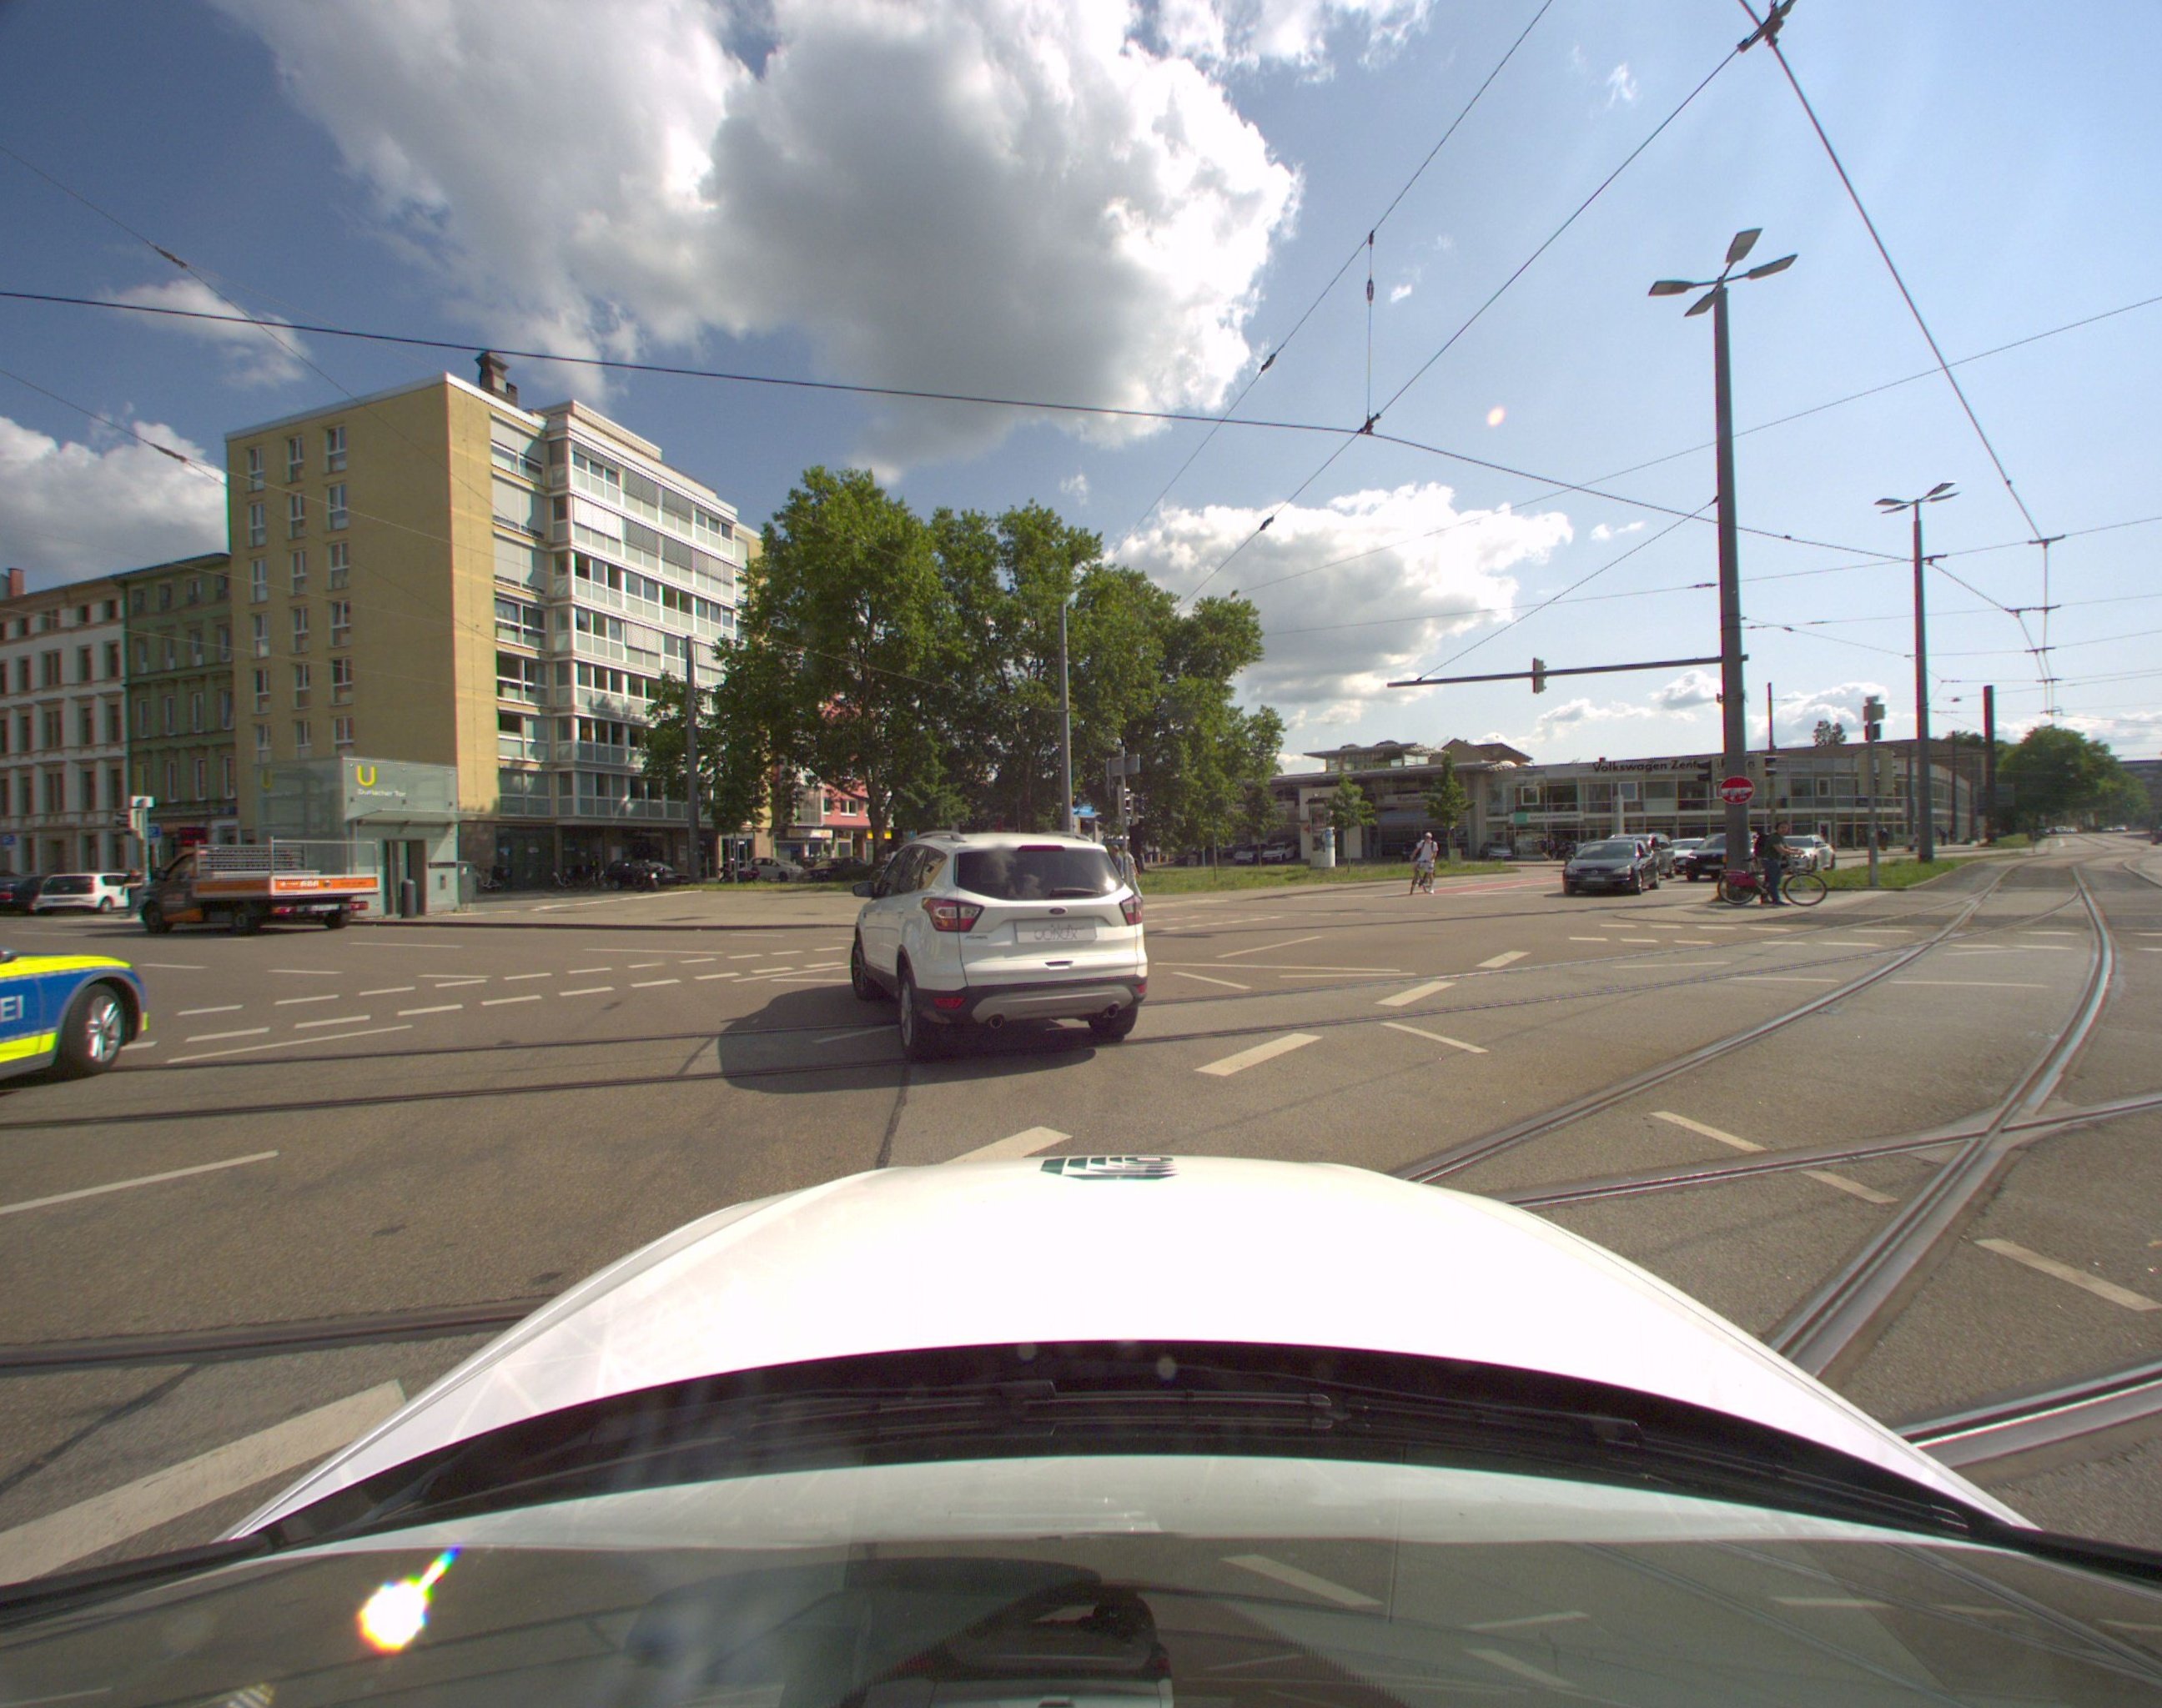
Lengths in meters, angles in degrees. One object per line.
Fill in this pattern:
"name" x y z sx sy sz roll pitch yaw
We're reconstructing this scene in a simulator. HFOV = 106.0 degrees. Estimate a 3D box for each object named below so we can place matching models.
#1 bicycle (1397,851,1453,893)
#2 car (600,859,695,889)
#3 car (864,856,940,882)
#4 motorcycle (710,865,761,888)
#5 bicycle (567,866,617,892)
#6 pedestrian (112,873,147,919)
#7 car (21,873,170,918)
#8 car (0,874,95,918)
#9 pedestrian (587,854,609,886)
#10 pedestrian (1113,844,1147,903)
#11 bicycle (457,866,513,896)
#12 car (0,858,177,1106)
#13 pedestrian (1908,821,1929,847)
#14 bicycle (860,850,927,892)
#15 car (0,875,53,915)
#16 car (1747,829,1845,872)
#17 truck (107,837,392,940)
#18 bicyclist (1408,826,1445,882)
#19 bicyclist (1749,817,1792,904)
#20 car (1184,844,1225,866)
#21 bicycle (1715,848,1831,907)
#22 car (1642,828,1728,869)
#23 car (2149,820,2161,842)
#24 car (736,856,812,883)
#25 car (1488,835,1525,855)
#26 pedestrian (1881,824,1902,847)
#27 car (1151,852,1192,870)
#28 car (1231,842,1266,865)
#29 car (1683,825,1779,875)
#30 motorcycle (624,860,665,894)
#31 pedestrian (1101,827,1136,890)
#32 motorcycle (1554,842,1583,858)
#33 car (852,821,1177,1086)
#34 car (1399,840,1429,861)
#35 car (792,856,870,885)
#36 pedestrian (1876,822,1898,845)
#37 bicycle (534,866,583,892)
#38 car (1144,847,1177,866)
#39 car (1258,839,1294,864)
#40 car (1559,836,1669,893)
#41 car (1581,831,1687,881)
"bicycle" 10.496 0.528 24.804 2.163 1.192 0.752 -2 0 -44
"car" -20.880 0.964 39.238 3.956 1.398 1.680 -1 -1 16
"car" -9.822 0.827 44.633 3.949 1.327 1.643 -2 -1 30
"motorcycle" -15.496 0.995 36.616 2.045 0.917 0.805 -3 1 -22
"bicycle" -22.550 1.132 37.554 1.929 1.147 0.800 -1 0 14
"pedestrian" -32.654 1.425 27.944 0.691 1.534 0.559 -2 -1 23
"car" -35.973 1.452 29.895 1.902 1.496 3.869 -1 -1 -23
"car" -38.539 1.489 29.582 1.902 1.496 3.868 -1 -1 -24
"pedestrian" -25.061 0.822 42.251 0.864 1.608 0.822 0 1 -41
"pedestrian" 1.468 0.565 24.184 0.917 1.743 0.591 1 1 12
"bicycle" -26.805 1.181 36.657 0.786 1.258 1.821 -1 0 28
"car" -7.520 0.838 4.179 1.886 1.568 4.584 -1 0 -20
"pedestrian" 63.840 -1.513 62.070 0.878 1.922 0.871 0 1 -25
"bicycle" -6.637 0.596 28.827 2.151 1.414 0.816 0 1 16
"car" -41.745 1.562 30.825 1.902 1.496 3.868 -1 -1 -24
"car" 26.649 -0.128 30.334 3.986 1.461 1.884 -2 -1 -36
"truck" -19.379 0.774 19.015 5.784 2.155 2.358 -1 0 19
"bicyclist" 10.541 0.009 24.871 0.765 1.683 0.752 -2 0 -44
"bicyclist" 14.018 0.120 16.568 0.653 1.737 0.644 0 1 39
"car" 11.646 0.092 76.498 1.948 1.937 5.100 -3 -1 31
"bicycle" 14.013 0.446 16.541 1.761 1.125 0.644 0 1 39
"car" 24.245 -0.244 32.669 3.986 1.461 1.613 -2 0 -36
"car" 85.229 -1.816 63.779 4.019 1.652 1.821 -1 0 -39
"car" -18.458 0.927 49.042 3.956 1.495 1.811 -1 0 17
"car" 34.411 -0.724 65.795 1.800 1.534 3.941 -3 -2 39
"pedestrian" 61.899 -1.436 62.175 0.877 1.737 0.871 0 1 -23
"car" 9.570 0.737 86.292 3.948 1.790 1.854 -3 -1 40
"car" 15.116 -0.076 73.327 1.949 1.937 4.256 -3 -1 28
"car" 21.015 -0.145 26.287 3.990 1.461 1.674 -2 0 -41
"motorcycle" -17.103 0.877 31.873 0.910 1.238 2.192 -3 1 -40
"pedestrian" 1.064 0.116 22.942 0.918 1.743 0.591 0 1 9
"motorcycle" 36.078 -0.321 60.242 1.956 1.185 0.565 0 1 -10
"car" -0.897 0.627 7.370 1.834 1.663 3.927 -2 0 -22
"car" 26.244 -0.279 64.138 1.801 1.534 3.940 -3 -1 28
"car" -13.112 0.874 42.958 1.889 1.413 4.020 -2 -1 20
"pedestrian" 60.127 -1.534 60.759 0.877 1.737 0.871 0 1 -23
"bicycle" -23.463 1.127 36.577 1.791 1.147 0.800 -1 0 14
"car" 7.963 0.284 82.017 1.842 1.790 3.974 -1 -1 -19
"car" 17.214 -0.203 71.717 1.975 2.014 4.256 -3 -1 28
"car" 14.422 0.258 21.973 3.663 1.373 1.721 -2 0 -45
"car" 19.259 0.044 28.309 4.018 1.573 1.724 -2 0 -36
